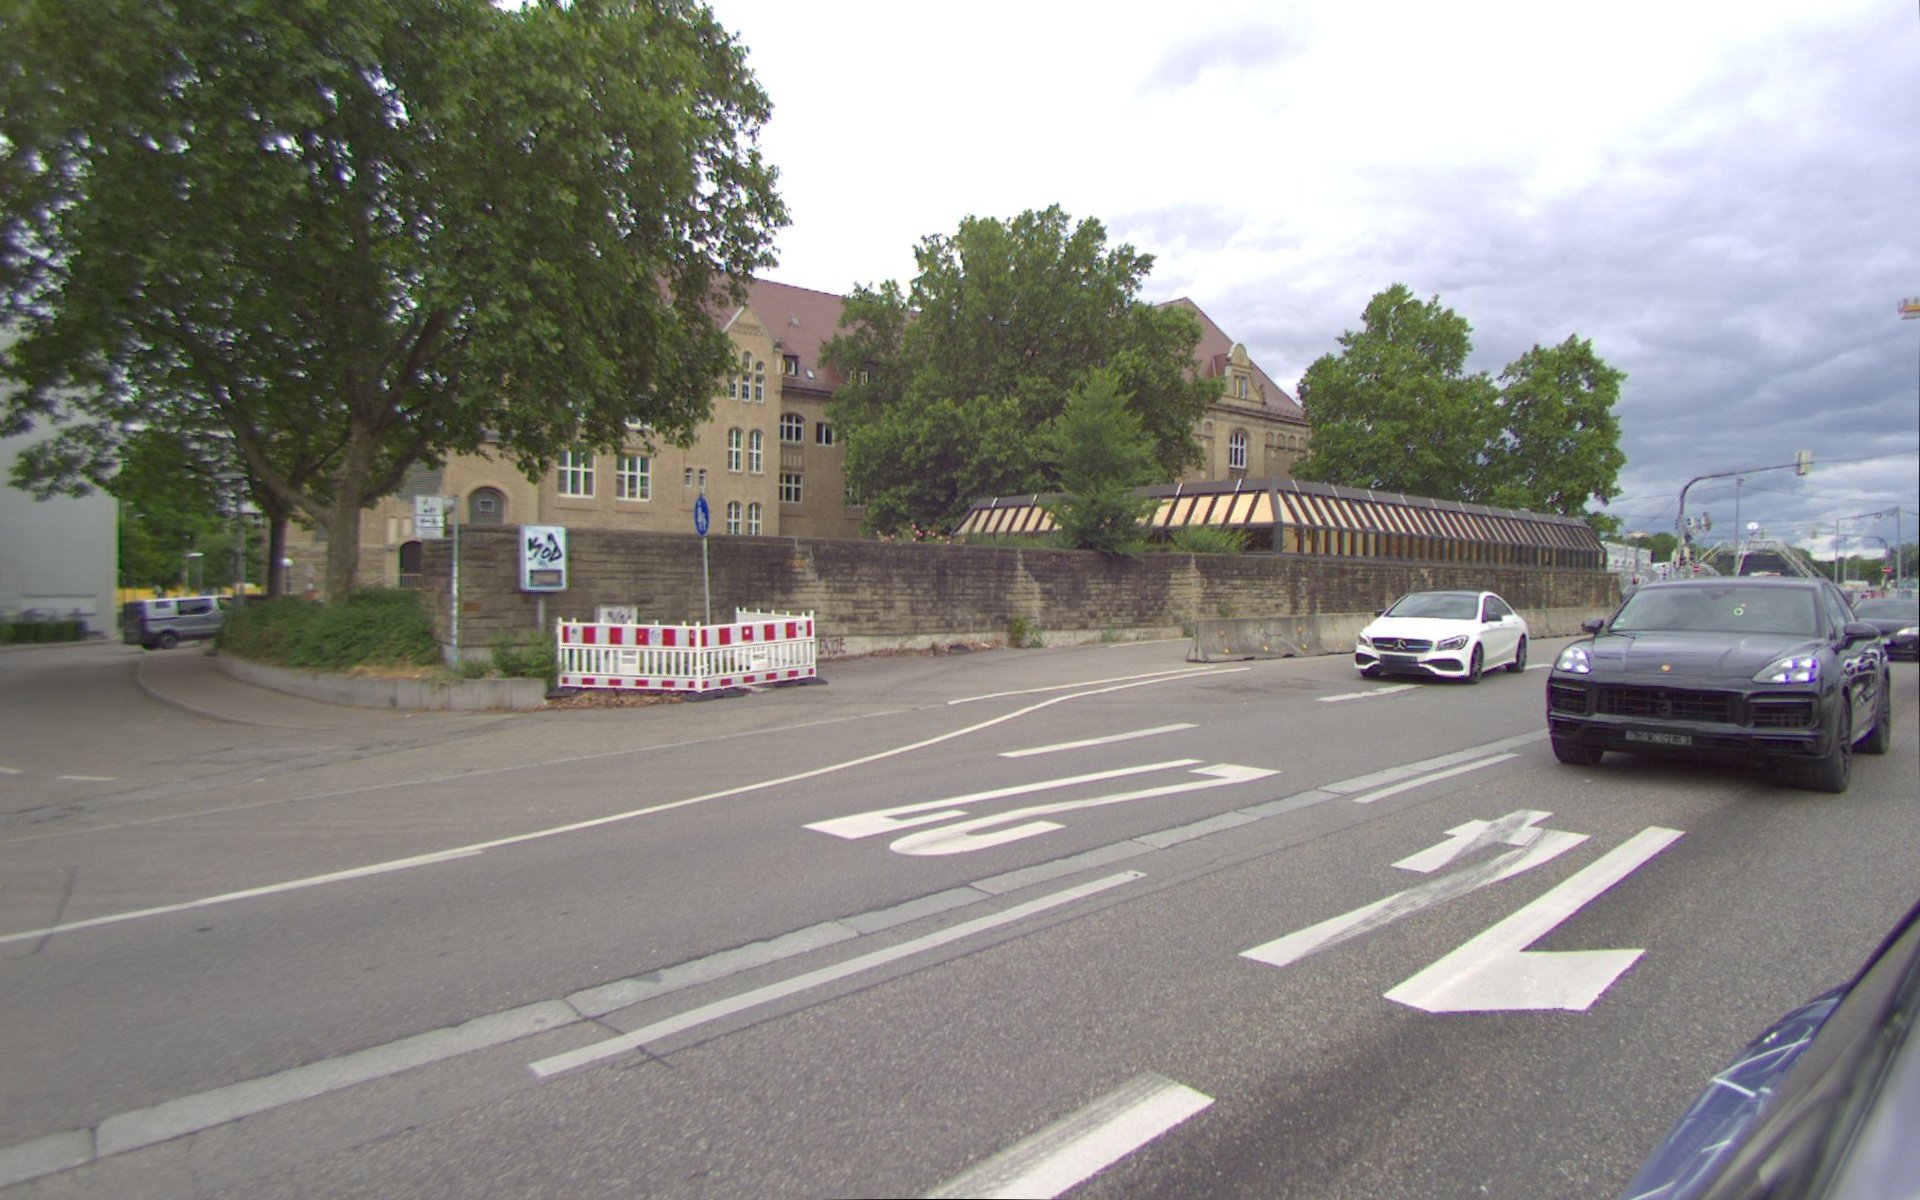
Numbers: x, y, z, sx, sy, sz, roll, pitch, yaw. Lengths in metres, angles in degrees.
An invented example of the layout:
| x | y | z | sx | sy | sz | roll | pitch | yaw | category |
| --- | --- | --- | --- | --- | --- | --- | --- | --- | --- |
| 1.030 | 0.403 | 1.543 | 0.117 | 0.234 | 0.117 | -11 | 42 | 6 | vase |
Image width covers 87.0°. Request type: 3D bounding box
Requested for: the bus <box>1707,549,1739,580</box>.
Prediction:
| x | y | z | sx | sy | sz | roll | pitch | yaw | category |
| --- | --- | --- | --- | --- | --- | --- | --- | --- | --- |
| 88.505 | -4.056 | 117.403 | 2.798 | 3.209 | 9.275 | 2 | 0 | 37 | bus |

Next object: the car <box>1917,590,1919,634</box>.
| x | y | z | sx | sy | sz | roll | pitch | yaw | category |
| --- | --- | --- | --- | --- | --- | --- | --- | --- | --- |
| 33.095 | 0.398 | 33.704 | 3.512 | 1.437 | 1.575 | 0 | 2 | -44 | car |

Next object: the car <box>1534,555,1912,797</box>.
| x | y | z | sx | sy | sz | roll | pitch | yaw | category |
| --- | --- | --- | --- | --- | --- | --- | --- | --- | --- |
| 7.113 | 0.526 | 9.238 | 4.530 | 1.669 | 1.953 | 0 | -1 | -43 | car |

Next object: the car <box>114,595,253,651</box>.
| x | y | z | sx | sy | sz | roll | pitch | yaw | category |
| --- | --- | --- | --- | --- | --- | --- | --- | --- | --- |
| -30.739 | 0.863 | 40.153 | 1.984 | 2.039 | 3.955 | -1 | 0 | 32 | car |

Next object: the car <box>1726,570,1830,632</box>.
| x | y | z | sx | sy | sz | roll | pitch | yaw | category |
| --- | --- | --- | --- | --- | --- | --- | --- | --- | --- |
| 28.100 | 0.031 | 34.744 | 3.605 | 1.961 | 1.938 | 0 | 3 | -38 | car |

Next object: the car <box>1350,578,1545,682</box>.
| x | y | z | sx | sy | sz | roll | pitch | yaw | category |
| --- | --- | --- | --- | --- | --- | --- | --- | --- | --- |
| 8.249 | 0.389 | 16.924 | 1.734 | 1.453 | 4.314 | 2 | 3 | 43 | car |

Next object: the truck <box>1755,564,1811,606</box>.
| x | y | z | sx | sy | sz | roll | pitch | yaw | category |
| --- | --- | --- | --- | --- | --- | --- | --- | --- | --- |
| 77.718 | -1.439 | 95.766 | 2.888 | 3.721 | 8.925 | 1 | 1 | 32 | truck |

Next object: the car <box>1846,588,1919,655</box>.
| x | y | z | sx | sy | sz | roll | pitch | yaw | category |
| --- | --- | --- | --- | --- | --- | --- | --- | --- | --- |
| 23.063 | 0.480 | 24.648 | 4.344 | 1.488 | 1.731 | 0 | 2 | -42 | car |

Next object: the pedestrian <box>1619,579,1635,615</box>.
| x | y | z | sx | sy | sz | roll | pitch | yaw | category |
| --- | --- | --- | --- | --- | --- | --- | --- | --- | --- |
| 38.974 | -0.175 | 59.137 | 0.616 | 2.039 | 0.844 | 0 | 0 | 23 | pedestrian |
